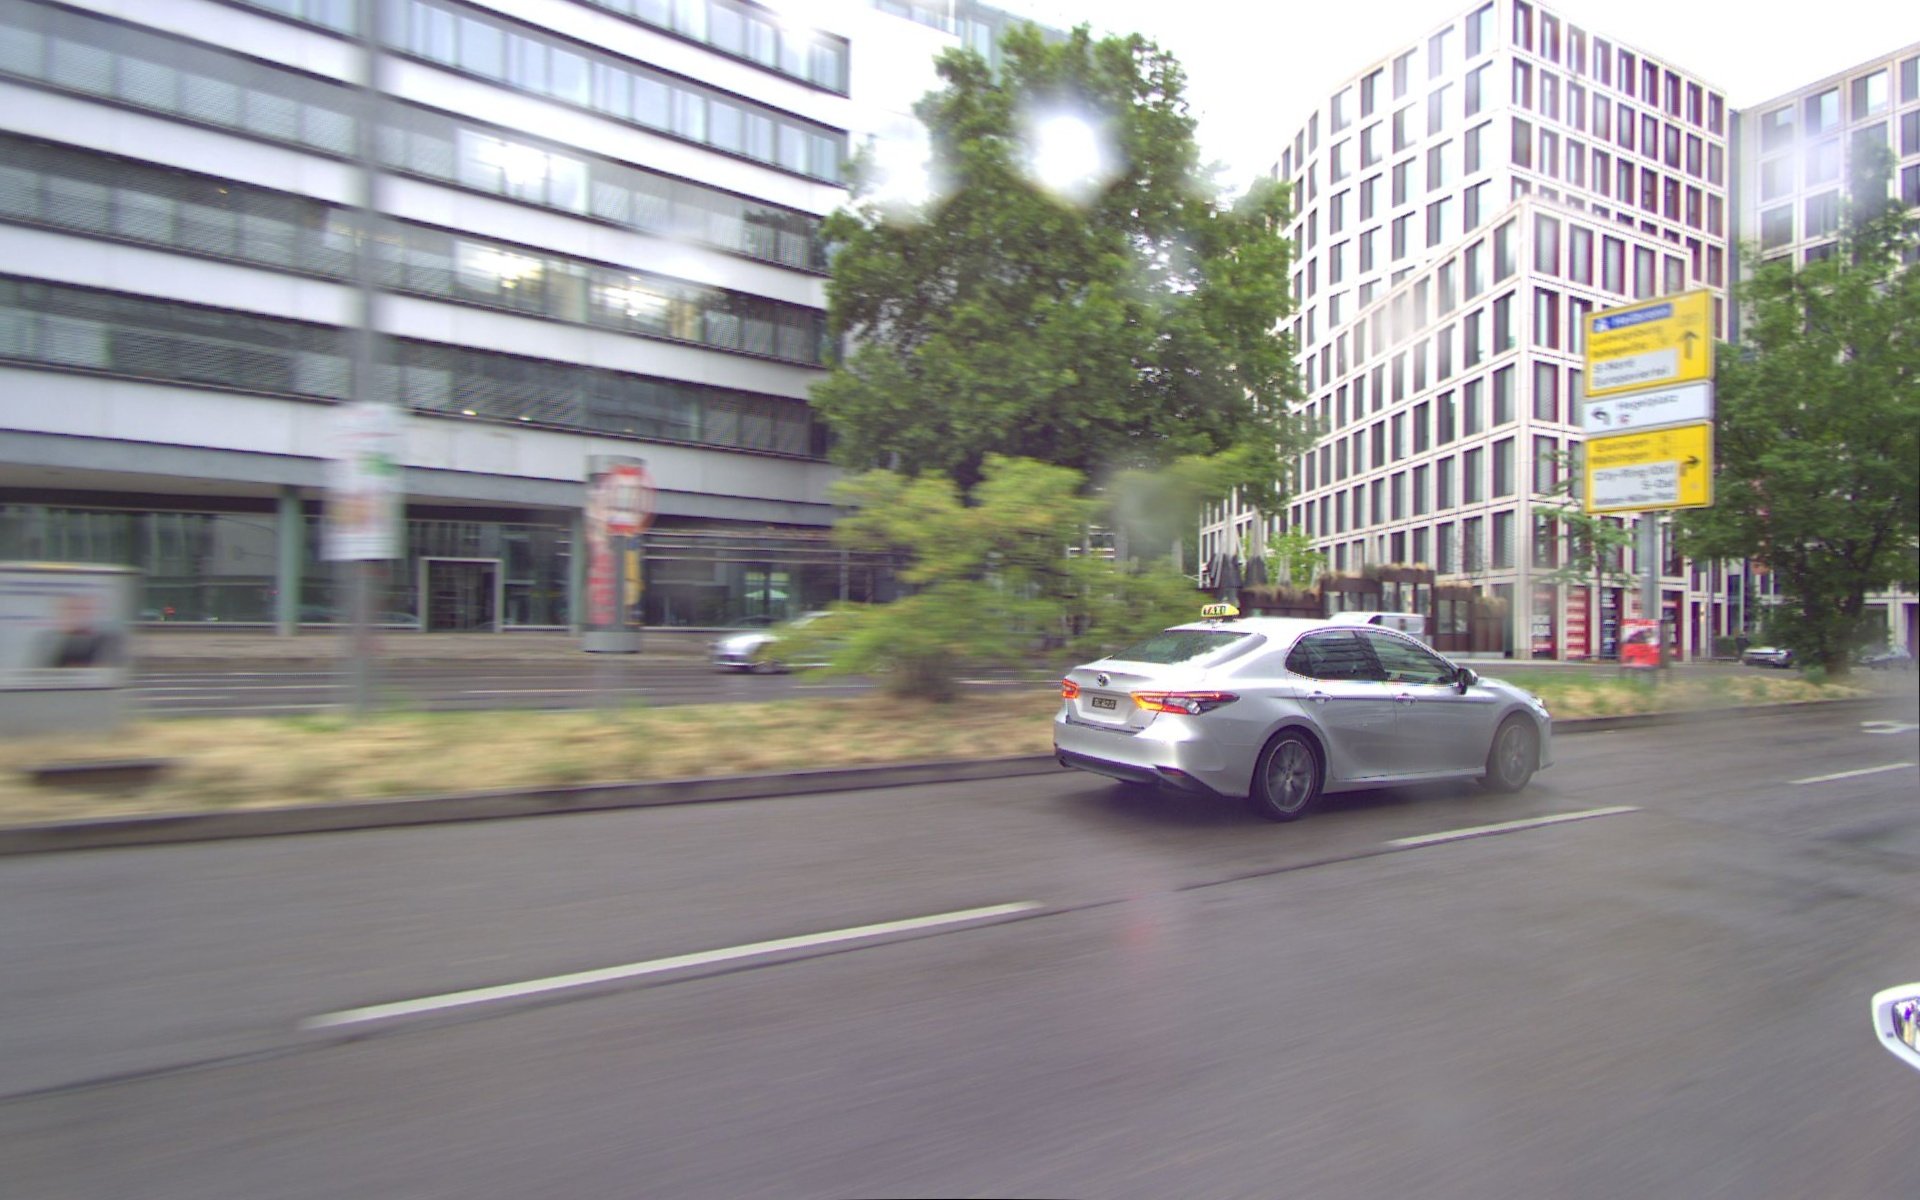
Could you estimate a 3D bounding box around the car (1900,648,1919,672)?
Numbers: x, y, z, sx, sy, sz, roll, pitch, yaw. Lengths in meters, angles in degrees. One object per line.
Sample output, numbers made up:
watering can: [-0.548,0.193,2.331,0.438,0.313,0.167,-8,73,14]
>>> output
car: [60.336,3.741,62.424,3.908,1.442,1.690,3,-3,-29]

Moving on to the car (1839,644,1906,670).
car: [52.478,3.282,57.759,3.908,1.442,1.690,3,-3,-29]

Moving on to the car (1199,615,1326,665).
car: [10.584,1.403,35.076,4.236,1.549,1.789,3,-1,-30]

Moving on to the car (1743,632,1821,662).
car: [42.654,2.456,52.105,4.321,1.442,1.690,3,-3,-29]

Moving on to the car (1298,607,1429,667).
car: [15.266,1.408,37.954,4.858,2.040,1.984,3,-1,-30]

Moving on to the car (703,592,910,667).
car: [-3.617,0.694,23.859,4.429,1.639,1.984,2,0,-30]

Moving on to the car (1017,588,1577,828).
car: [2.968,0.806,8.468,4.747,1.541,1.821,3,-1,-31]

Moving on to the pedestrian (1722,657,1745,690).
pedestrian: [42.998,4.067,55.850,0.954,1.757,0.611,3,-1,-24]
